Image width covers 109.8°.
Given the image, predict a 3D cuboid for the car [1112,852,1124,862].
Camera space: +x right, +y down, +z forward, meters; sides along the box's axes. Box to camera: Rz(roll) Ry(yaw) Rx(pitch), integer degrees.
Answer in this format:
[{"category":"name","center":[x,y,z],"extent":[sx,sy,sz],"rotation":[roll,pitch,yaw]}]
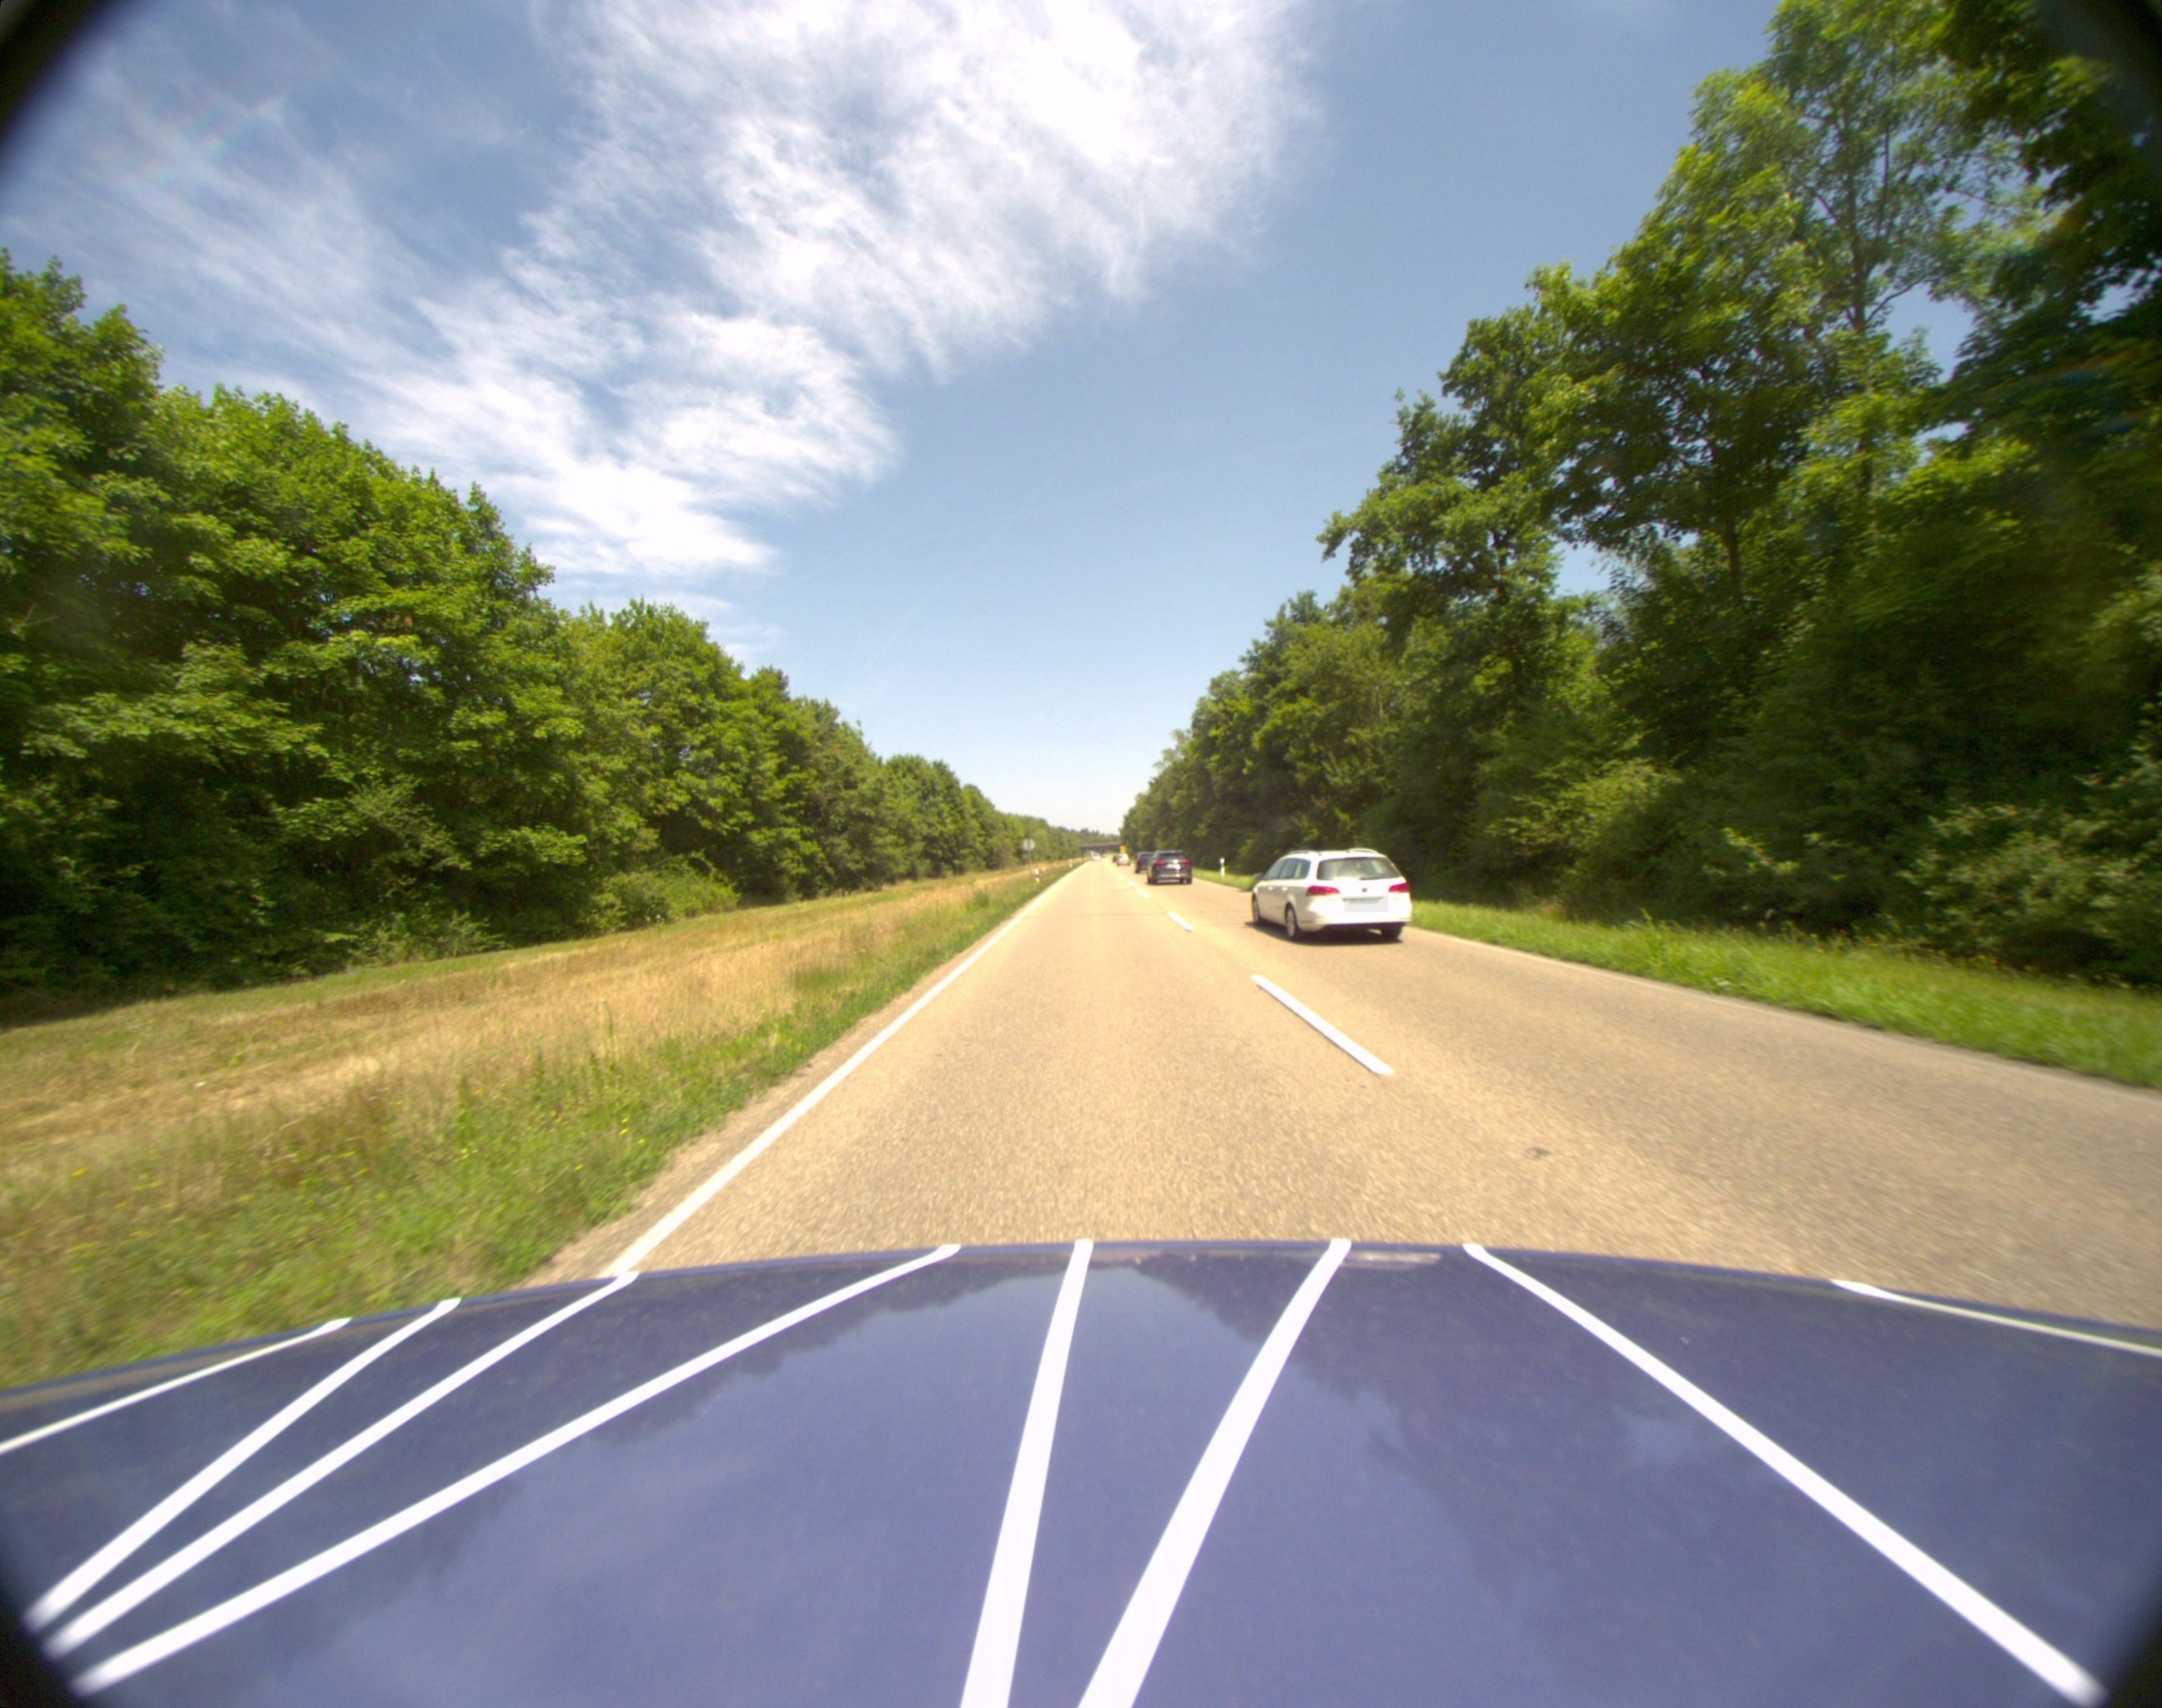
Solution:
[{"category":"car","center":[6.744,0.524,139.098],"extent":[1.891,1.651,3.705],"rotation":[-2,0,1]}]

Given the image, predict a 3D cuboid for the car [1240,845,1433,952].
[{"category":"car","center":[4.265,0.647,13.559],"extent":[1.844,1.527,4.658],"rotation":[-2,0,0]}]

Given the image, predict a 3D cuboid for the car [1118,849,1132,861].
[{"category":"car","center":[5.825,0.098,99.954],"extent":[1.670,1.487,3.684],"rotation":[-2,1,2]}]

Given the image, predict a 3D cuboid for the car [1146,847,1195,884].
[{"category":"car","center":[4.293,0.513,37.001],"extent":[1.870,1.615,4.200],"rotation":[-2,0,0]}]

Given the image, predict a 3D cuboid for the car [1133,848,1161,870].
[{"category":"car","center":[5.011,0.354,58.219],"extent":[1.756,1.595,4.440],"rotation":[-2,1,1]}]
